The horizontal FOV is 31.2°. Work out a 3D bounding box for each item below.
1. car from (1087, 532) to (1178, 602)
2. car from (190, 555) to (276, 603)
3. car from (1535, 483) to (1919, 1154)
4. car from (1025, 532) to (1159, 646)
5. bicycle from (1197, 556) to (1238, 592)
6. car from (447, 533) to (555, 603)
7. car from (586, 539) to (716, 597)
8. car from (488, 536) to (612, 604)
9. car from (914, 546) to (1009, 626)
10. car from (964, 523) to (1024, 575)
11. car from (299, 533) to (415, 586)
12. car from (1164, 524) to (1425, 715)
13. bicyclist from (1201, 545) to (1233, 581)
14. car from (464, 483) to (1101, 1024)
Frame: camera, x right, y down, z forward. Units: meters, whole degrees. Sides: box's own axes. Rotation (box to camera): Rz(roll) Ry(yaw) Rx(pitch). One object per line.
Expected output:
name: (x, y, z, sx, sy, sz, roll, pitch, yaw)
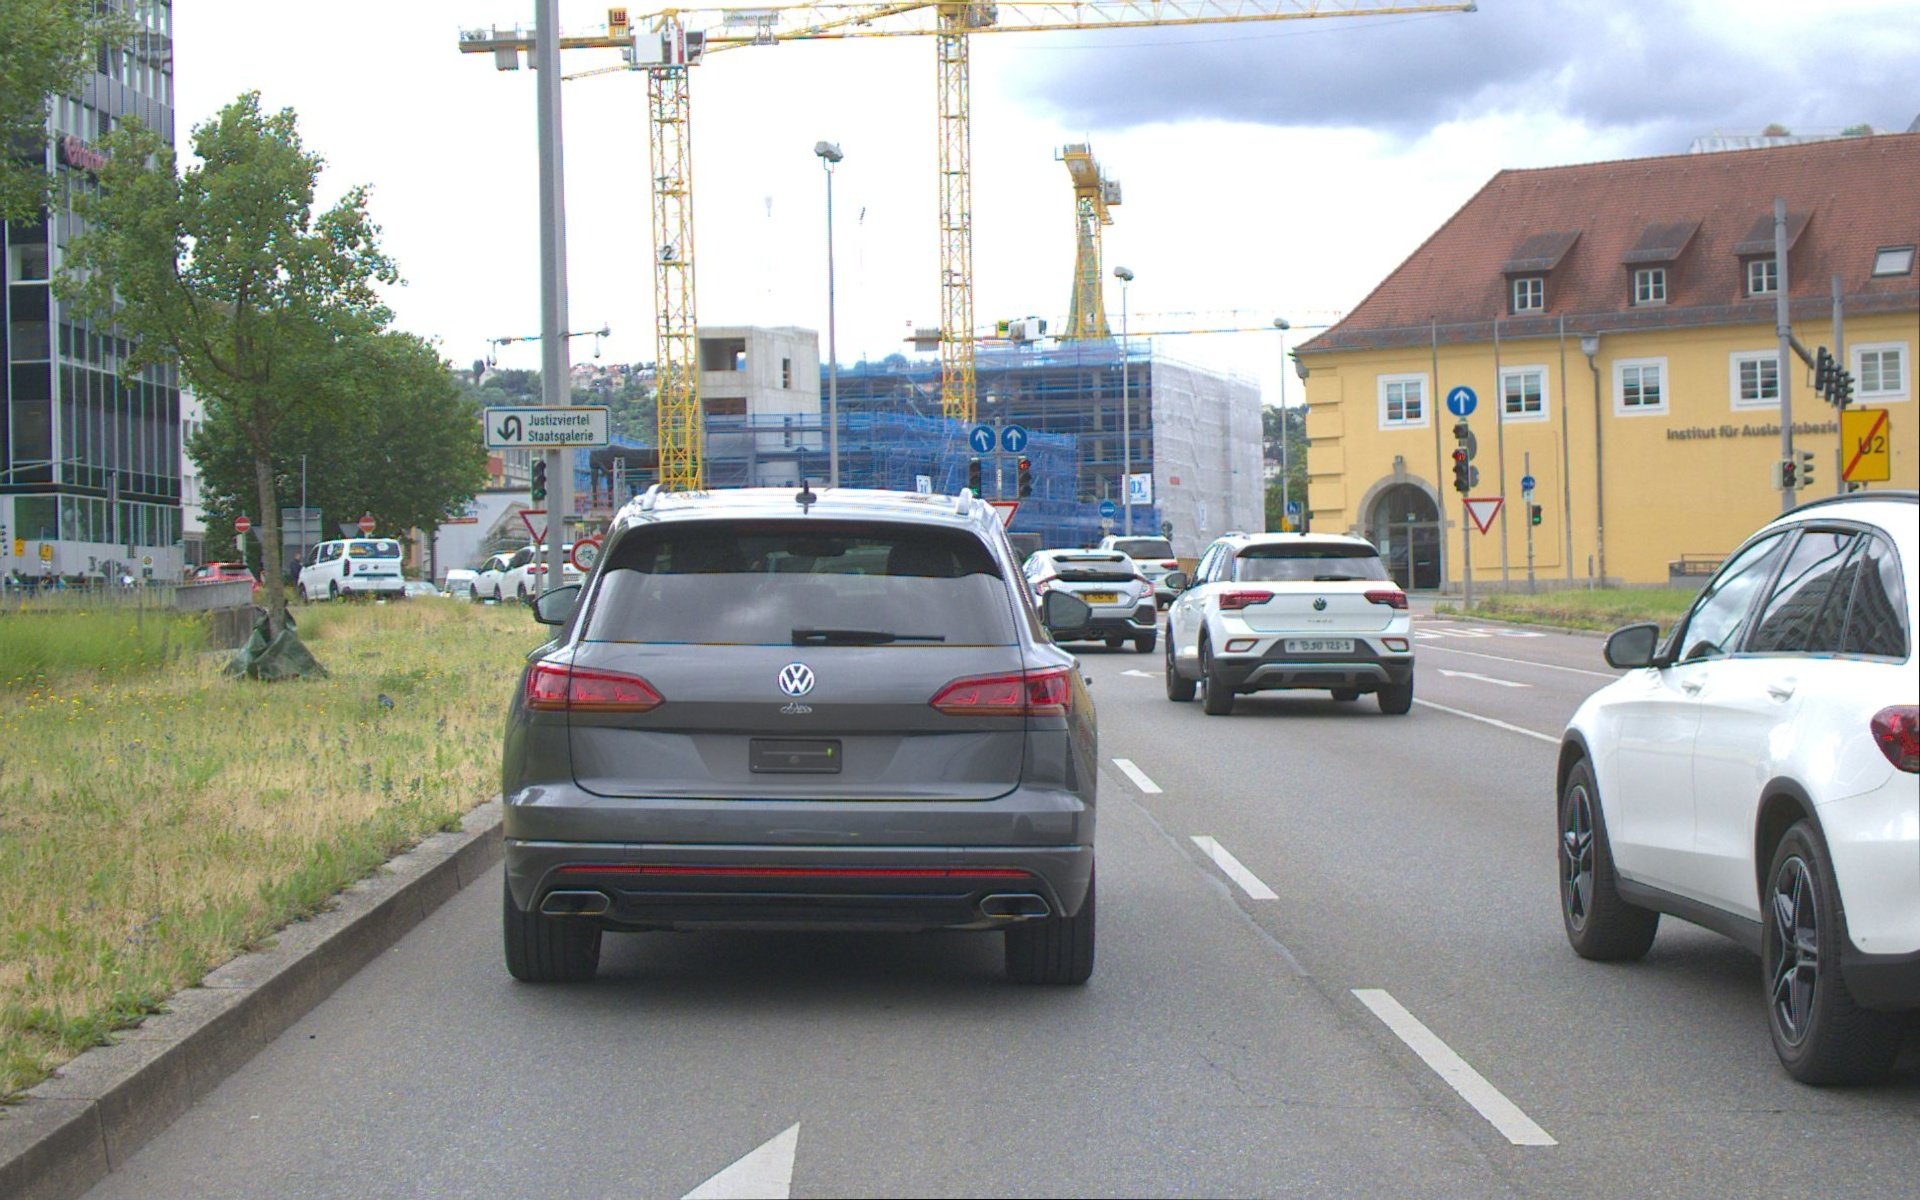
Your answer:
car: (3.824, -0.763, 76.657, 1.803, 1.497, 3.981, 0, 1, 0)
car: (-23.642, -0.690, 111.685, 1.718, 1.497, 3.982, -1, 1, -28)
car: (3.107, 0.479, 10.607, 1.819, 1.641, 4.379, 0, 1, -2)
car: (1.801, -0.185, 47.938, 1.719, 1.497, 4.144, 0, 1, 0)
bicycle: (8.318, -0.856, 111.216, 0.923, 1.155, 2.465, 0, 1, -5)
car: (-13.469, -0.963, 100.678, 1.894, 1.605, 4.002, -3, 7, -27)
car: (-7.654, -0.805, 84.871, 1.640, 1.392, 3.597, -1, 1, -34)
car: (-9.478, -0.707, 79.226, 1.814, 1.491, 3.907, -1, 1, -23)
car: (0.058, -0.287, 66.634, 1.719, 1.497, 3.981, 0, 1, 2)
car: (0.995, -1.513, 100.910, 1.719, 1.497, 3.981, 0, 1, 0)
car: (-17.816, -1.215, 101.428, 2.244, 1.497, 4.612, -1, 2, -25)
car: (2.894, 0.121, 30.465, 1.893, 1.580, 3.801, 0, 1, -1)
bicyclist: (8.322, -1.194, 111.205, 0.923, 1.155, 0.725, 0, 1, -5)
car: (-0.571, 0.419, 12.457, 1.933, 1.641, 4.000, 0, 1, -1)
